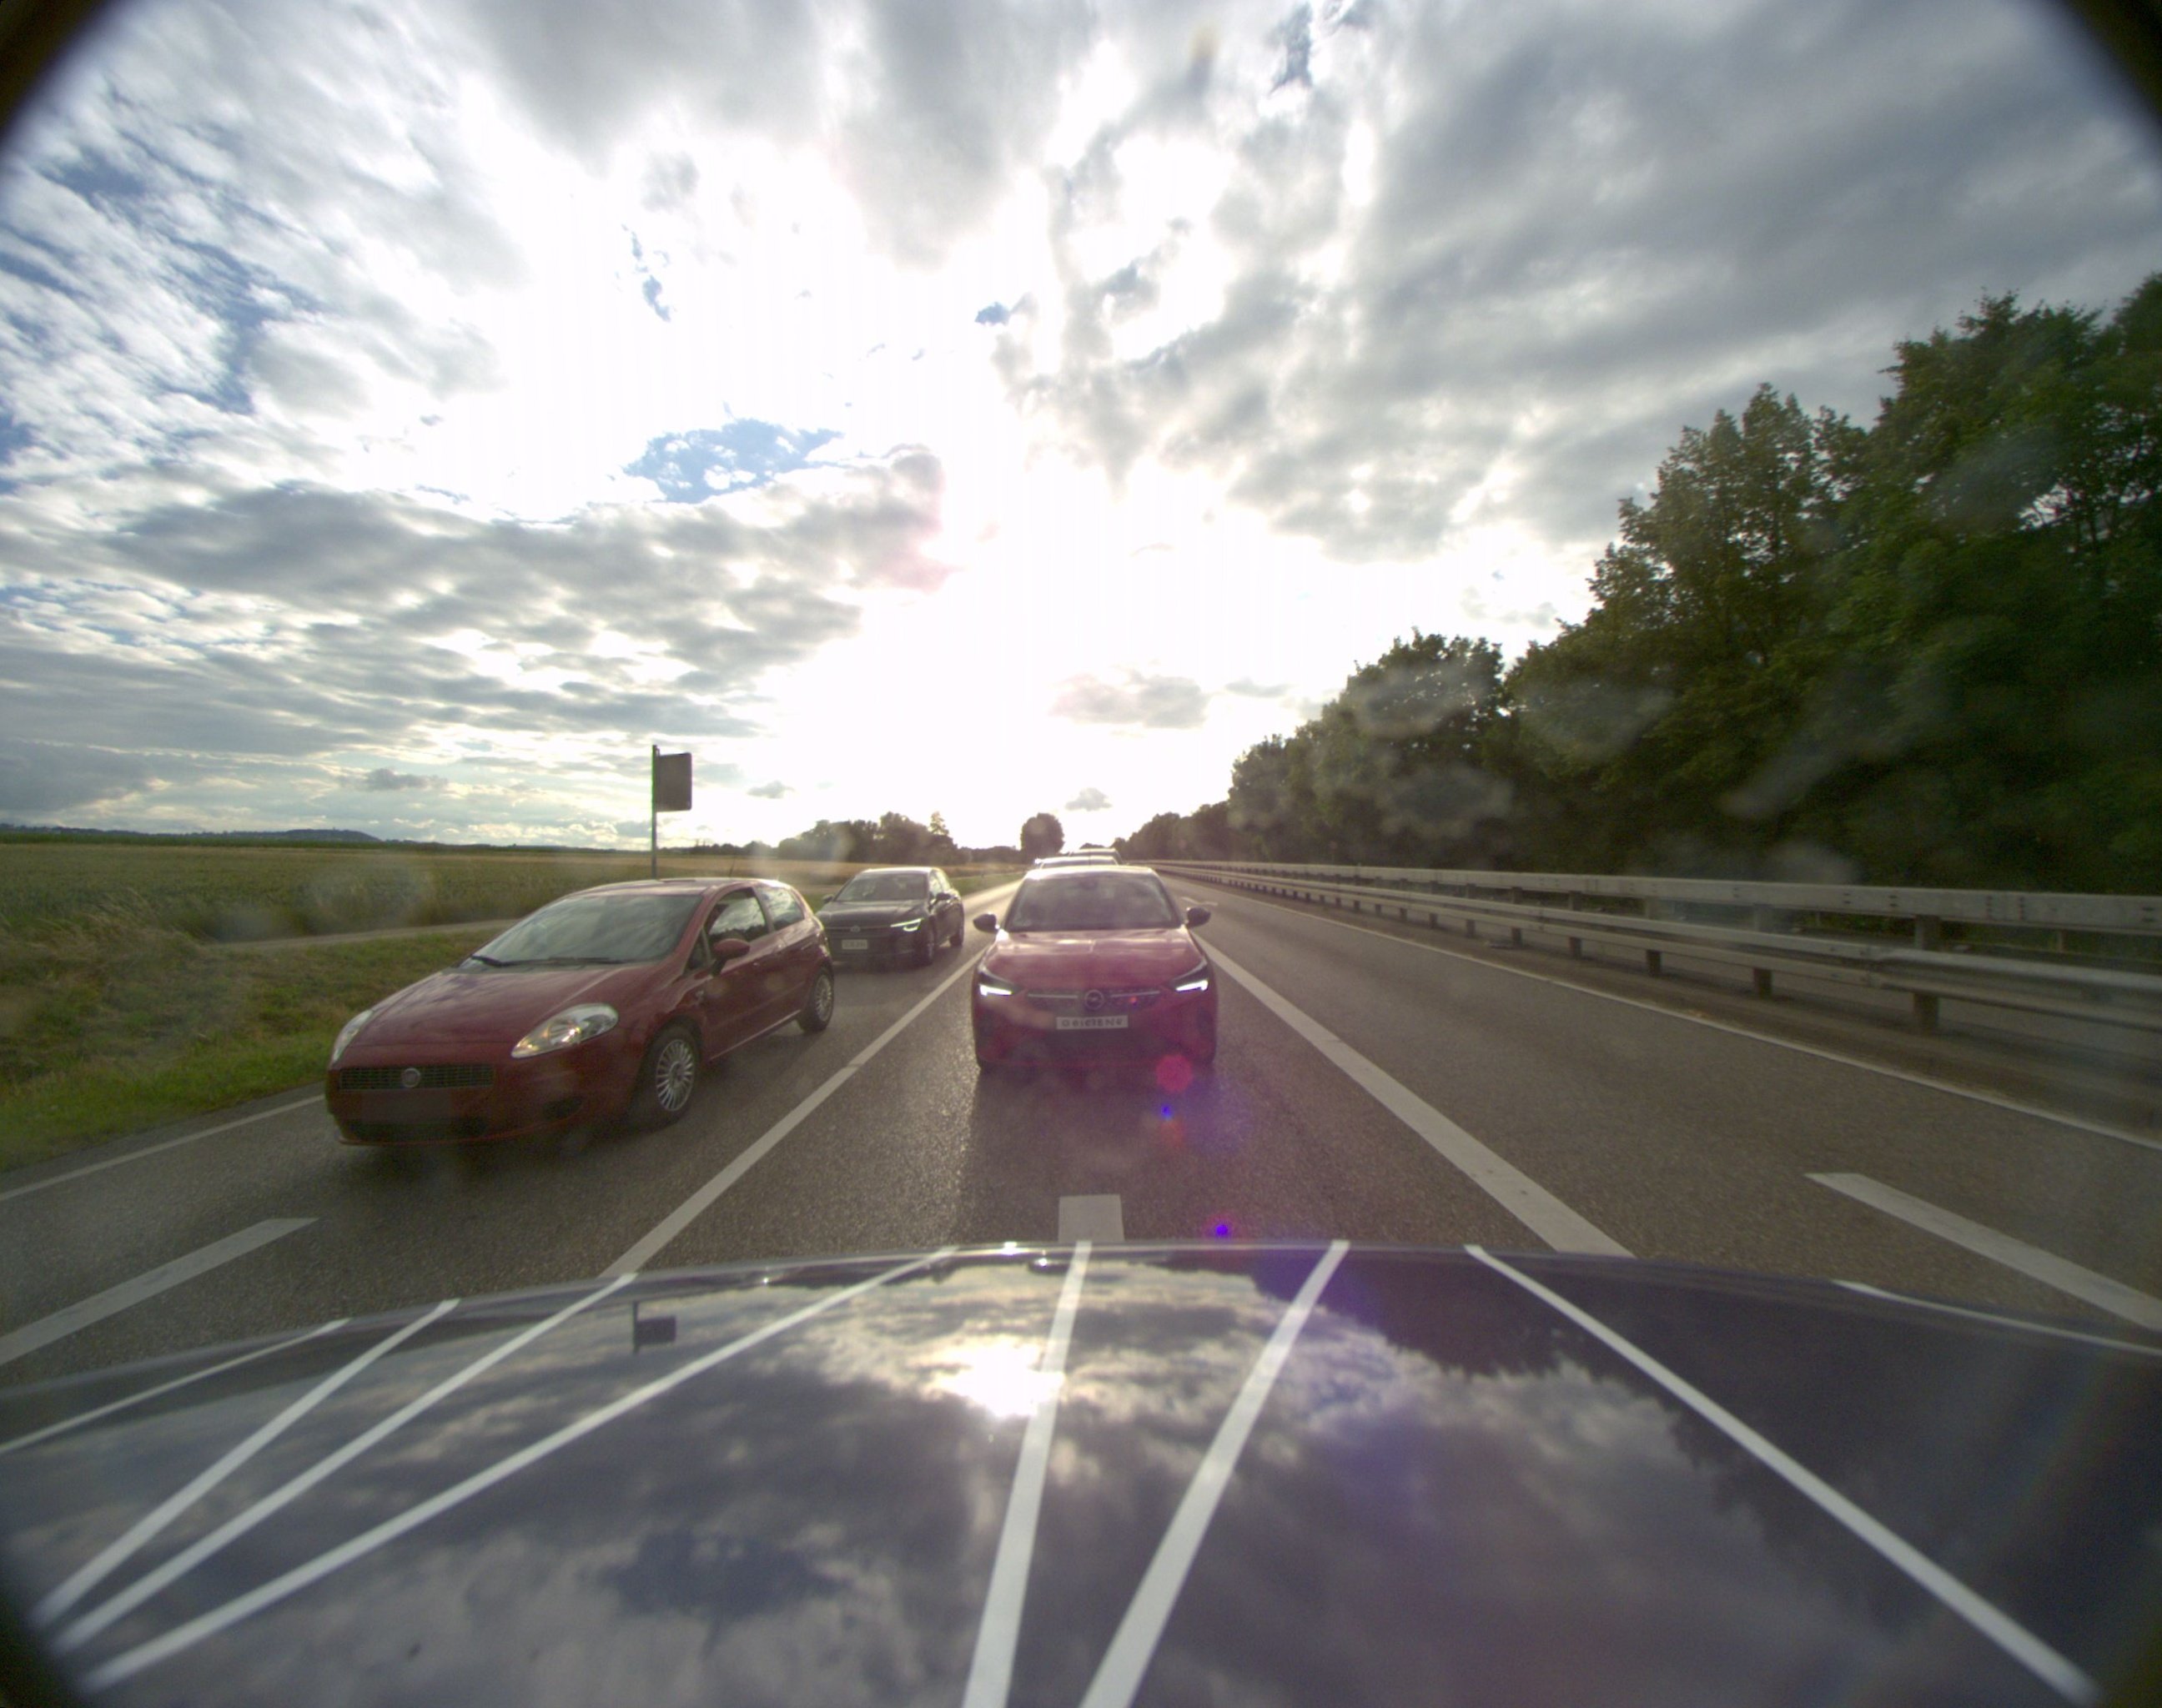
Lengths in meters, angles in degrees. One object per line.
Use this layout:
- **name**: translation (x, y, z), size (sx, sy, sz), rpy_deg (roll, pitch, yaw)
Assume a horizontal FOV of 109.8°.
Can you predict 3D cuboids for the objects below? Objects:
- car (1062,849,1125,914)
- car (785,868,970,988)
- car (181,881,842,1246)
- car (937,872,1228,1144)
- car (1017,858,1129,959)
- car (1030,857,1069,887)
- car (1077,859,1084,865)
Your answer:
- **car**: translation (0.371, 0.736, 23.049), size (1.671, 1.730, 4.032), rpy_deg (-2, 1, 1)
- **car**: translation (-3.056, 1.043, 12.337), size (1.799, 1.448, 4.032), rpy_deg (-2, 1, 1)
- **car**: translation (-3.250, 1.045, 5.474), size (1.712, 1.448, 3.908), rpy_deg (-2, 1, 1)
- **car**: translation (0.039, 0.992, 6.656), size (1.712, 1.448, 4.061), rpy_deg (-2, 1, 1)
- **car**: translation (-0.100, 0.879, 14.097), size (1.712, 1.448, 4.061), rpy_deg (-2, 1, 1)
- **car**: translation (-1.655, 0.927, 40.734), size (1.799, 1.448, 4.032), rpy_deg (-2, 1, 1)
- **car**: translation (-0.148, 2.070, 193.586), size (1.751, 1.550, 3.731), rpy_deg (-2, 1, 1)
